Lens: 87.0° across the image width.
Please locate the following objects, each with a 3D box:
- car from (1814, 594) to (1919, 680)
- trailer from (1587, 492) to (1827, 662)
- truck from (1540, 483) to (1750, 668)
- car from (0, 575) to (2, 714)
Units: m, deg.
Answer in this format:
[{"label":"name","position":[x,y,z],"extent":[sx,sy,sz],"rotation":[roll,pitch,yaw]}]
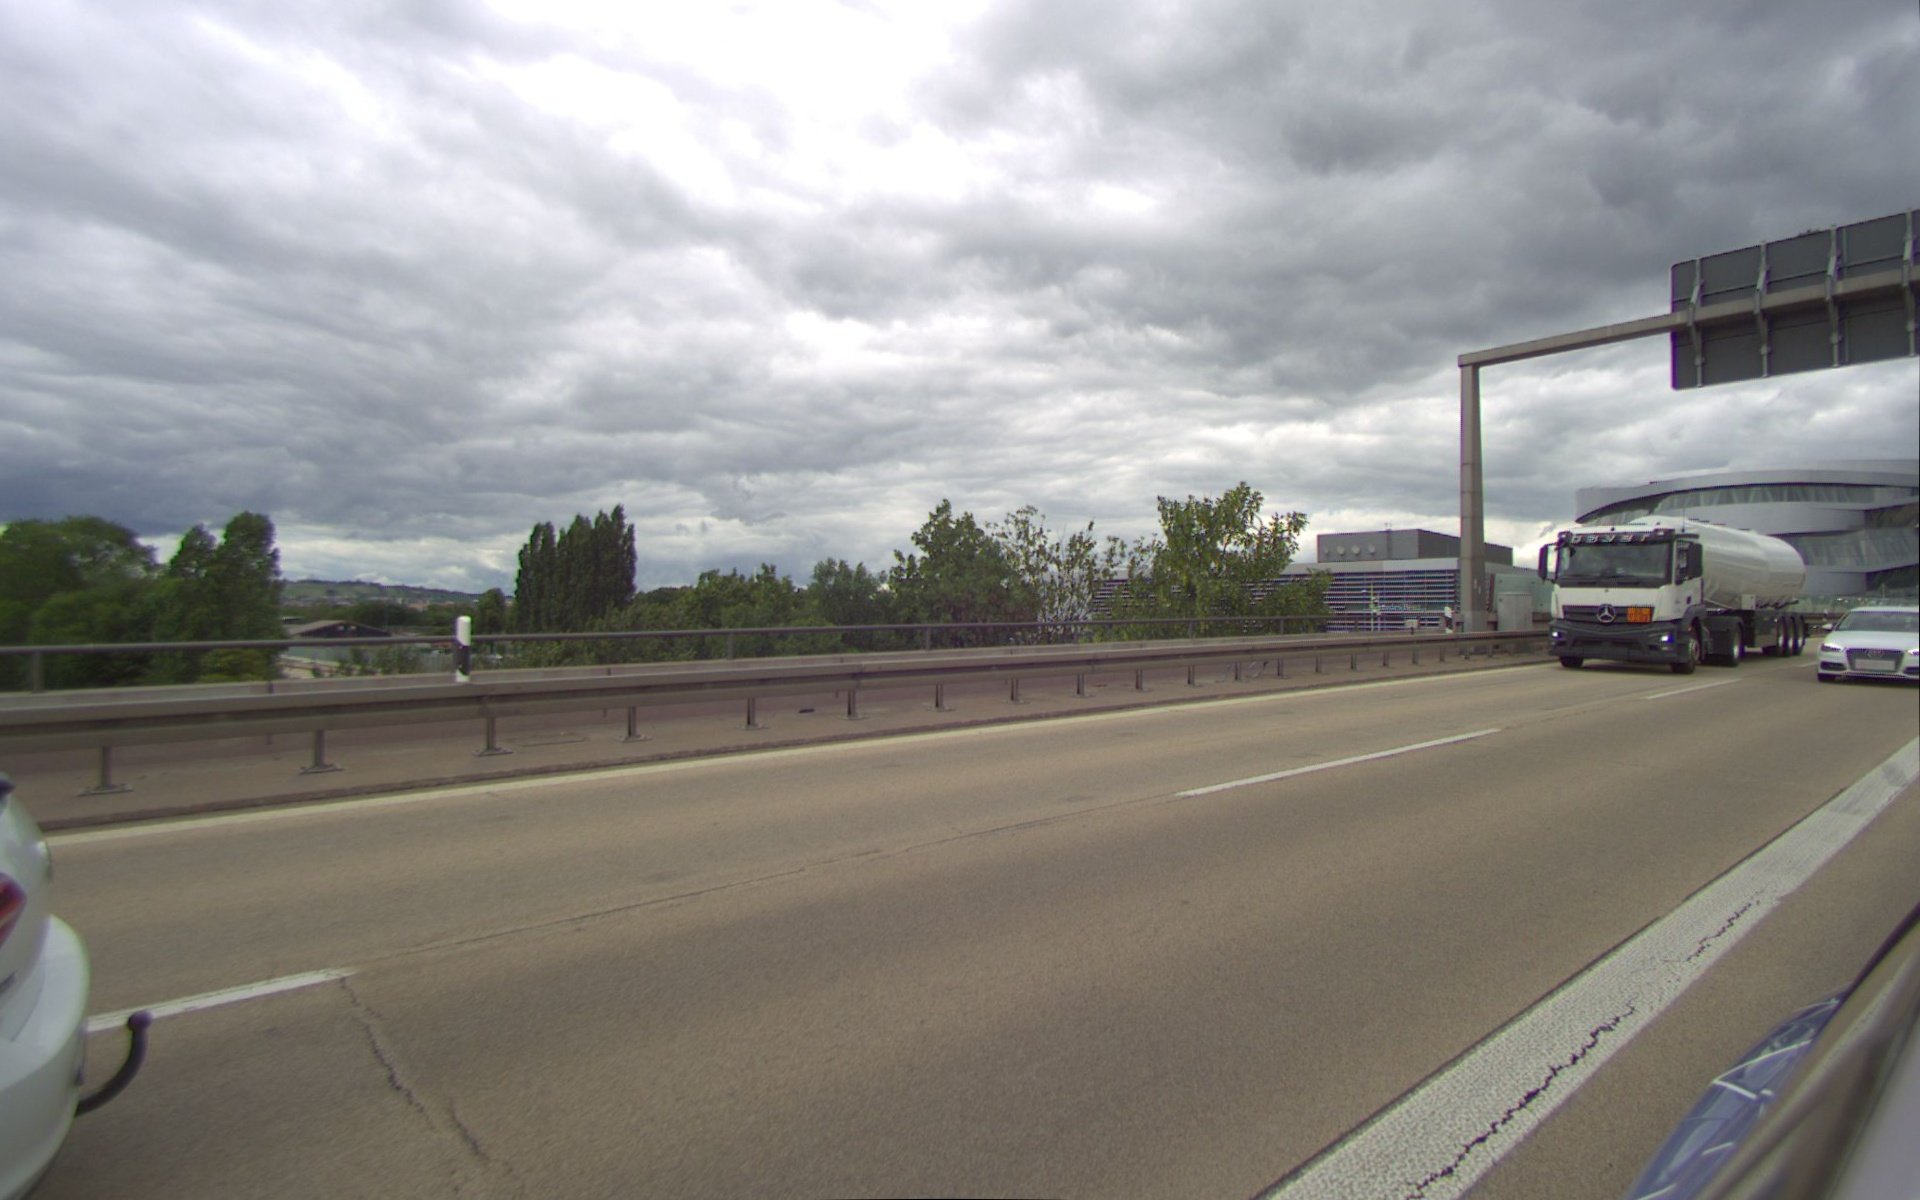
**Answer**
[{"label":"car","position":[17.767,0.644,19.072],"extent":[3.861,1.470,1.848],"rotation":[1,0,-39]},{"label":"trailer","position":[19.504,-0.525,26.005],"extent":[11.024,3.588,2.655],"rotation":[0,1,-41]},{"label":"truck","position":[15.017,-0.425,22.091],"extent":[4.817,3.559,2.635],"rotation":[2,-1,-41]},{"label":"car","position":[-3.662,0.674,0.896],"extent":[4.002,1.470,1.757],"rotation":[0,1,-42]}]
